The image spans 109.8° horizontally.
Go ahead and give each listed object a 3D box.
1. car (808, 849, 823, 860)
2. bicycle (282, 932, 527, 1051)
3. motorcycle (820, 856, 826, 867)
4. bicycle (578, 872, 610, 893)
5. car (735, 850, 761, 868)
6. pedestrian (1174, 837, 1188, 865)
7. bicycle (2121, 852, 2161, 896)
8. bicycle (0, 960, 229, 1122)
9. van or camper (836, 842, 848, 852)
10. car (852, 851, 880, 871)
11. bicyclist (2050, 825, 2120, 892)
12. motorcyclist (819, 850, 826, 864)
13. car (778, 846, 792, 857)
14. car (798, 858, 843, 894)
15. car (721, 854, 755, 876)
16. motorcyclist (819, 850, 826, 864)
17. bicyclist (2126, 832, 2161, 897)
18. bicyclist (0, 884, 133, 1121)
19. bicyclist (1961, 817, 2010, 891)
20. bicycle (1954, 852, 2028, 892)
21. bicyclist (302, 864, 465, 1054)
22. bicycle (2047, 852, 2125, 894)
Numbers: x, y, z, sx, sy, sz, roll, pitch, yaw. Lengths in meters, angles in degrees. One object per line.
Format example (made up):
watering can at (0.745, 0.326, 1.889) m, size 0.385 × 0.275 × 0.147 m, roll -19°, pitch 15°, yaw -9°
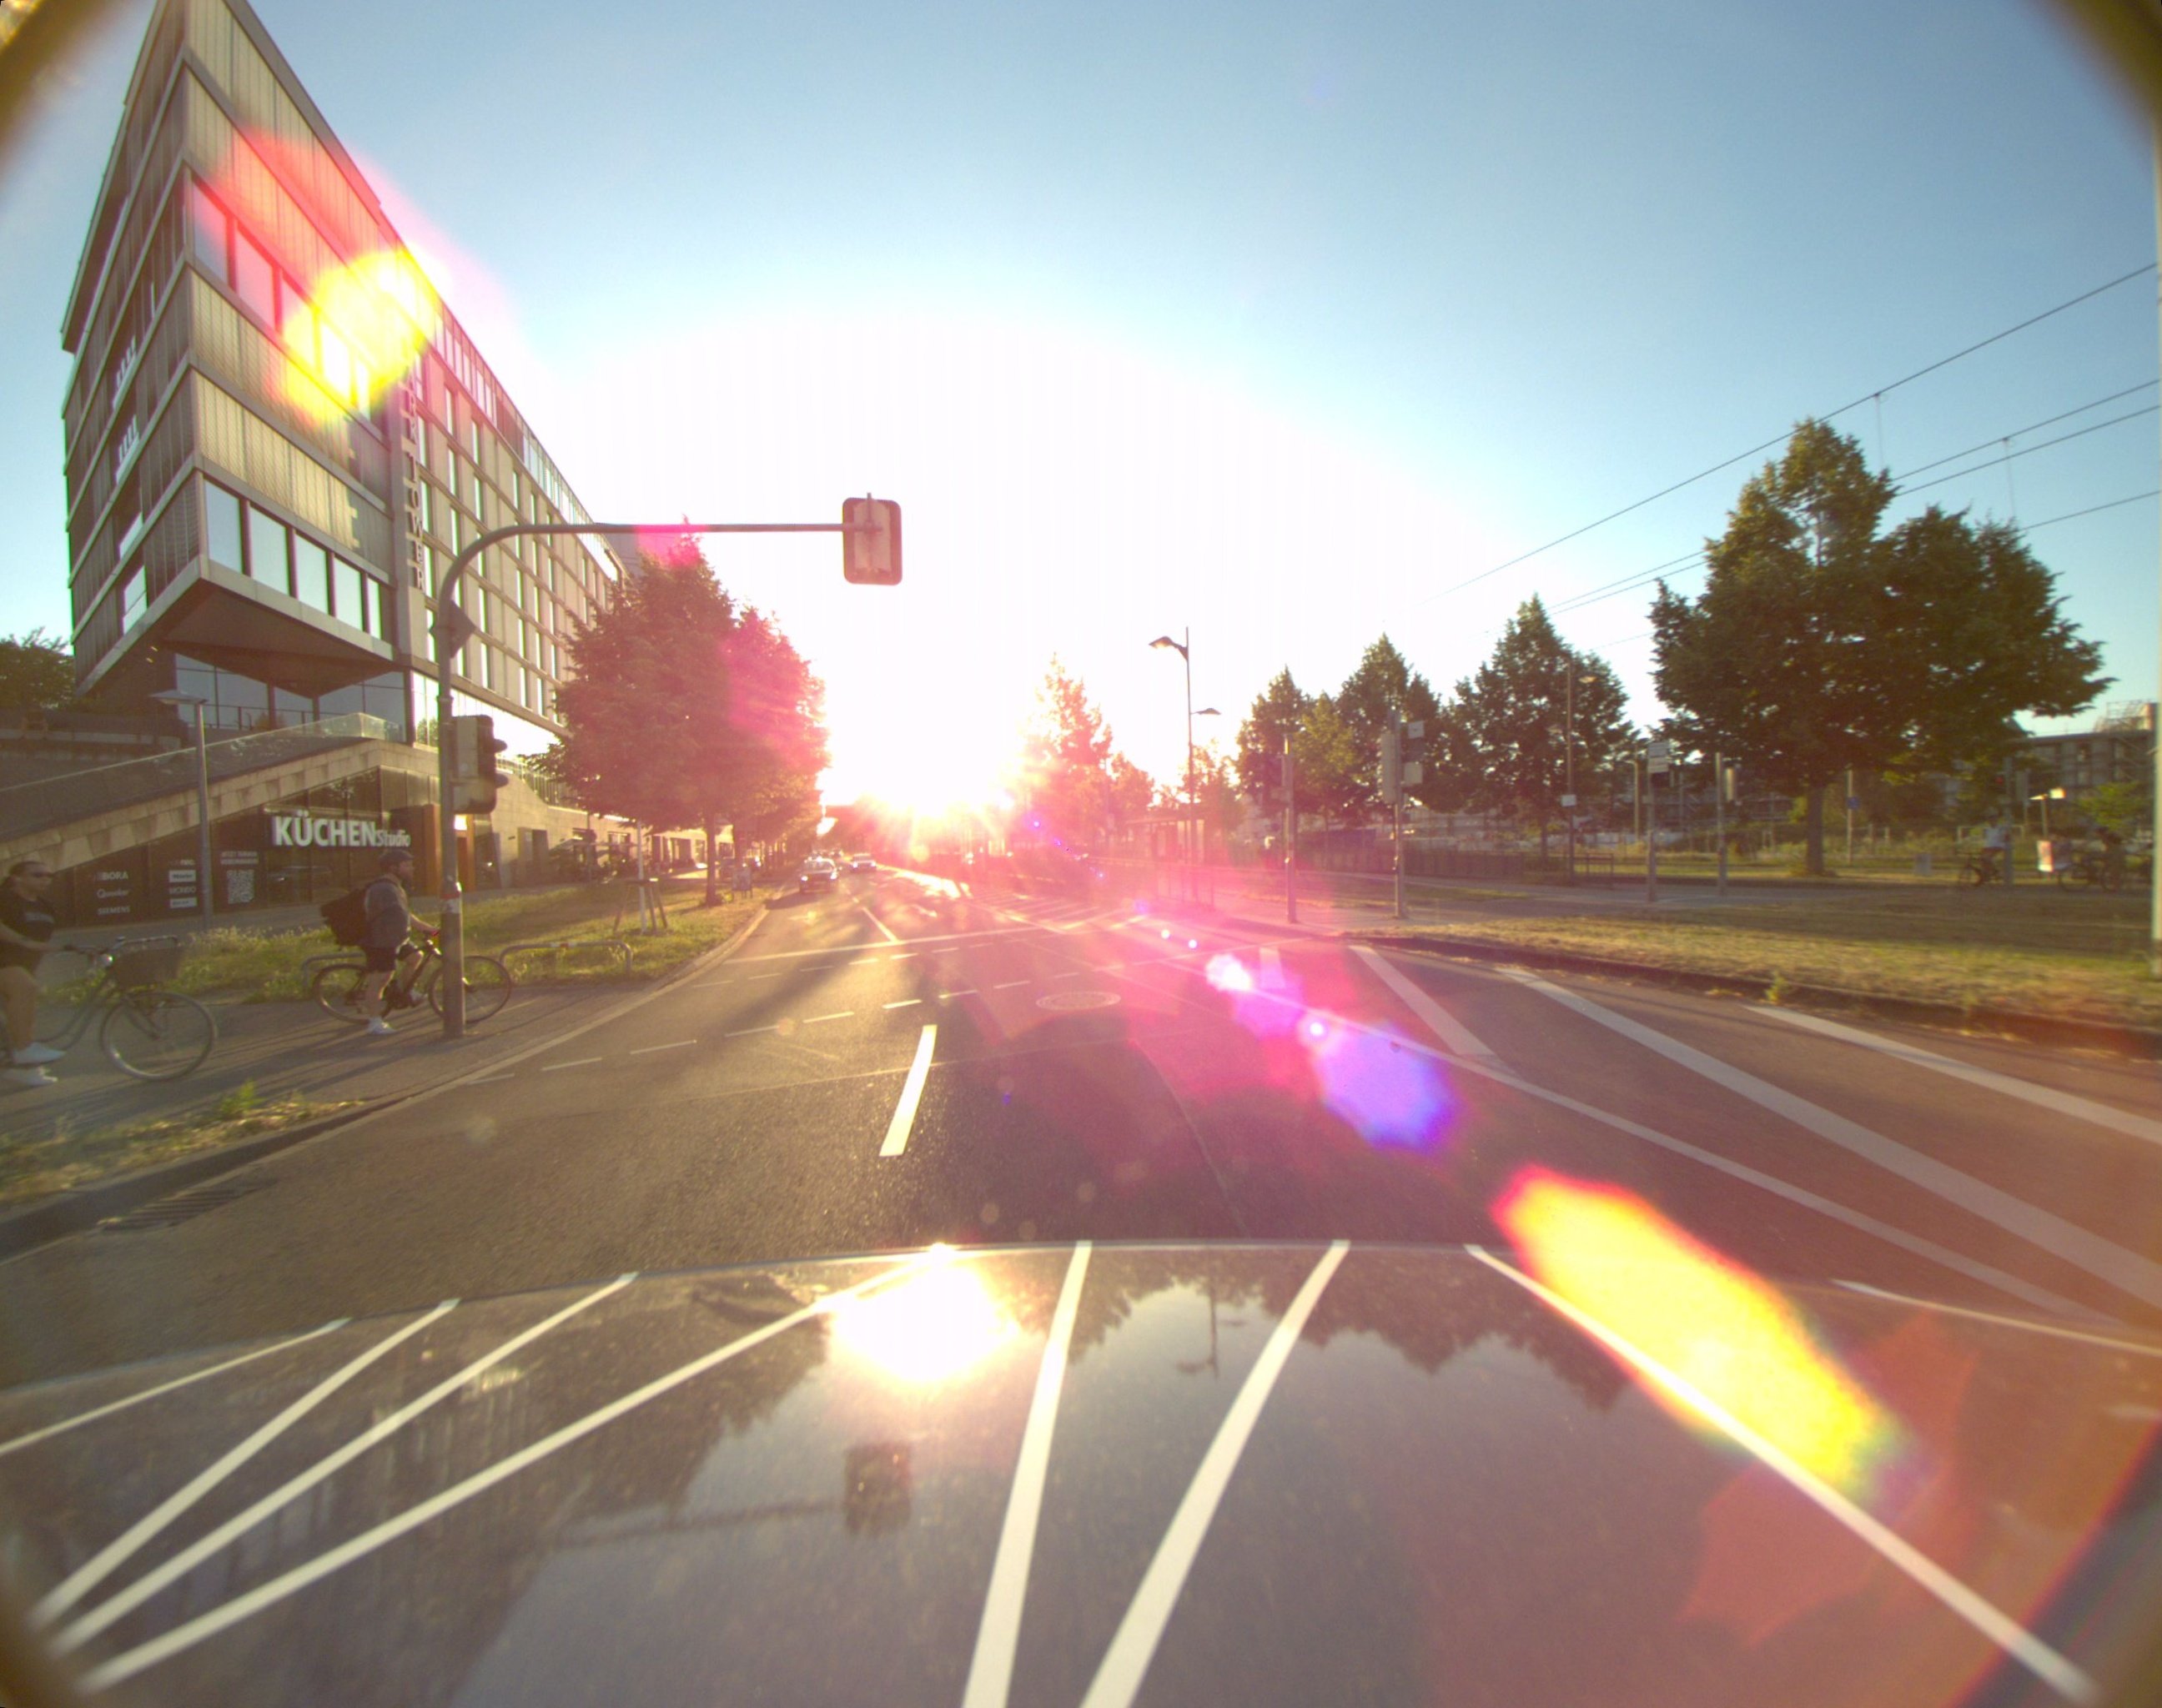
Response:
car at (-37.633, 0.054, 107.749) m, size 1.894 × 1.472 × 4.043 m, roll -2°, pitch 2°, yaw -19°
bicycle at (-6.873, 1.380, 7.793) m, size 1.864 × 1.017 × 0.437 m, roll -2°, pitch 1°, yaw -12°
motorcycle at (-26.395, 0.746, 77.672) m, size 0.558 × 1.094 × 2.156 m, roll -2°, pitch 1°, yaw -19°
bicycle at (-22.835, 1.302, 35.685) m, size 0.550 × 0.847 × 2.640 m, roll -2°, pitch 1°, yaw -17°
car at (-30.352, 0.427, 69.299) m, size 1.805 × 1.456 × 3.993 m, roll -2°, pitch 1°, yaw -19°
pedestrian at (5.866, -0.197, 44.576) m, size 0.709 × 1.623 × 0.445 m, roll -2°, pitch 2°, yaw -21°
bicycle at (25.672, 0.461, 18.045) m, size 1.844 × 0.975 × 0.536 m, roll -2°, pitch 1°, yaw -16°
bicycle at (-7.687, 1.395, 5.582) m, size 1.866 × 1.017 × 0.307 m, roll -2°, pitch 2°, yaw -29°
van or camper at (-49.866, -1.464, 158.437) m, size 2.002 × 1.946 × 5.318 m, roll -2°, pitch 2°, yaw -20°
car at (-16.708, 0.491, 58.969) m, size 1.805 × 1.415 × 4.441 m, roll -2°, pitch 1°, yaw -19°
bicyclist at (25.309, 0.106, 19.166) m, size 0.815 × 1.631 × 0.814 m, roll -2°, pitch 1°, yaw -16°
motorcyclist at (-26.560, 0.325, 78.038) m, size 0.637 × 1.400 × 0.593 m, roll -2°, pitch 2°, yaw -19°
car at (-44.465, -0.387, 114.320) m, size 1.805 × 1.456 × 3.993 m, roll -2°, pitch 1°, yaw -19°
car at (-12.071, 0.964, 35.202) m, size 1.805 × 1.456 × 3.993 m, roll -2°, pitch 1°, yaw -19°
car at (-24.886, 0.779, 55.241) m, size 1.805 × 1.456 × 3.993 m, roll -2°, pitch 1°, yaw -19°
motorcyclist at (-26.346, 0.344, 77.404) m, size 0.637 × 1.408 × 0.713 m, roll -2°, pitch 2°, yaw -19°
bicyclist at (25.443, 0.230, 17.984) m, size 0.815 × 1.497 × 0.592 m, roll -2°, pitch 1°, yaw -16°
bicyclist at (-7.823, 1.066, 5.654) m, size 0.685 × 1.639 × 0.682 m, roll -2°, pitch 2°, yaw -28°
bicyclist at (24.118, -0.005, 20.265) m, size 0.678 × 1.907 × 0.614 m, roll -2°, pitch 1°, yaw -16°
bicycle at (24.342, 0.466, 20.328) m, size 1.844 × 0.975 × 0.549 m, roll -2°, pitch 1°, yaw -16°
bicyclist at (-6.935, 0.993, 7.617) m, size 0.849 × 1.745 × 0.803 m, roll -2°, pitch 1°, yaw -12°
bicycle at (25.308, 0.473, 19.134) m, size 1.844 × 0.975 × 0.549 m, roll -2°, pitch 1°, yaw -16°
